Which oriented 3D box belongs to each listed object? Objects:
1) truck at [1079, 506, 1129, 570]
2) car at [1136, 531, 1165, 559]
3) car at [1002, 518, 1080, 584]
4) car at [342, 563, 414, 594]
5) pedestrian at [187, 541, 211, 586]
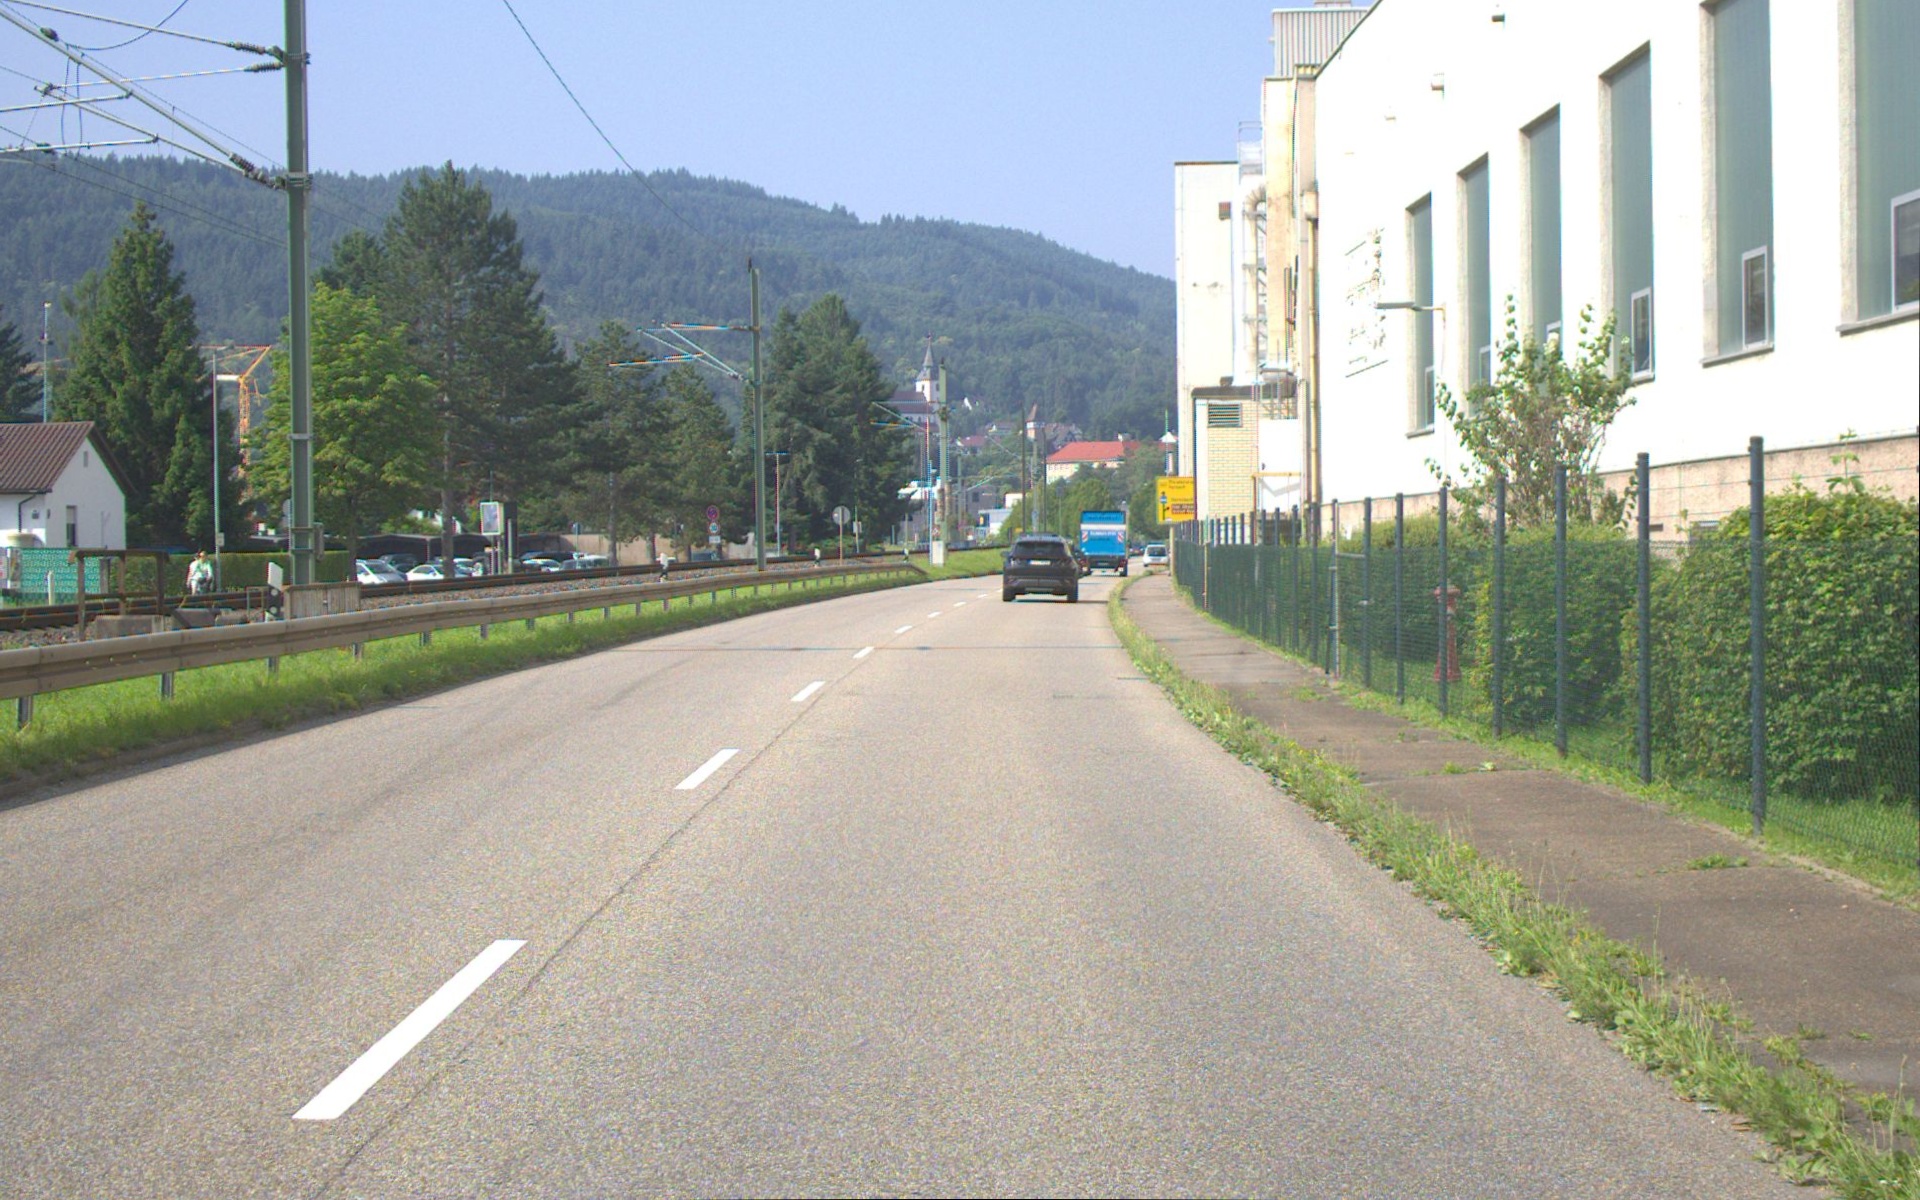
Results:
[{"bbox_3d":[6.800,-2.942,161.910,2.313,2.960,5.965,0,1,3],"label":"truck"},{"bbox_3d":[12.499,-3.619,225.498,1.667,1.816,3.751,0,1,6],"label":"car"},{"bbox_3d":[2.044,-1.251,87.353,1.919,1.634,4.000,0,1,1],"label":"car"},{"bbox_3d":[-27.798,-1.021,164.069,1.683,1.438,3.851,-1,1,-39],"label":"car"},{"bbox_3d":[-22.664,-1.096,102.399,0.573,1.327,0.674,-1,1,-4],"label":"pedestrian"}]
